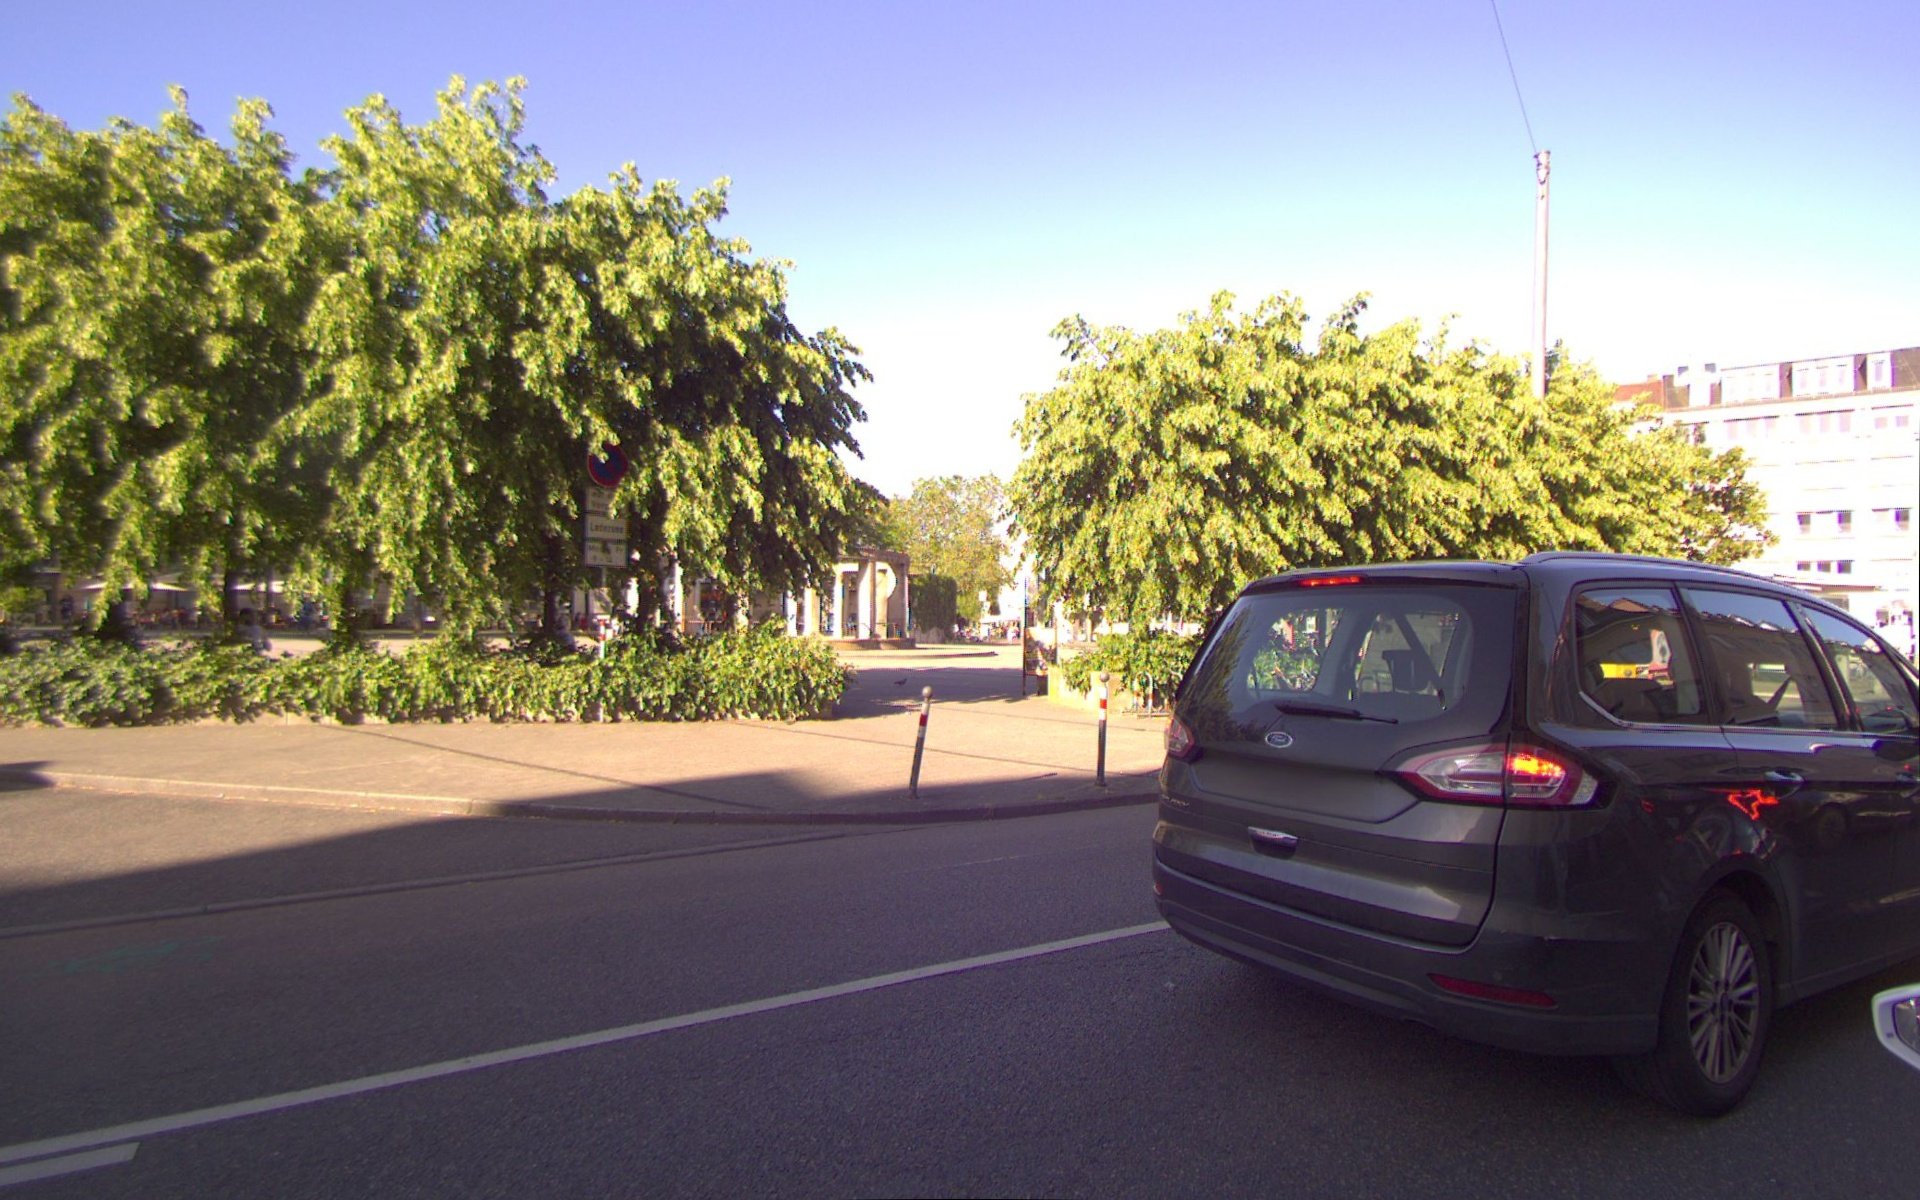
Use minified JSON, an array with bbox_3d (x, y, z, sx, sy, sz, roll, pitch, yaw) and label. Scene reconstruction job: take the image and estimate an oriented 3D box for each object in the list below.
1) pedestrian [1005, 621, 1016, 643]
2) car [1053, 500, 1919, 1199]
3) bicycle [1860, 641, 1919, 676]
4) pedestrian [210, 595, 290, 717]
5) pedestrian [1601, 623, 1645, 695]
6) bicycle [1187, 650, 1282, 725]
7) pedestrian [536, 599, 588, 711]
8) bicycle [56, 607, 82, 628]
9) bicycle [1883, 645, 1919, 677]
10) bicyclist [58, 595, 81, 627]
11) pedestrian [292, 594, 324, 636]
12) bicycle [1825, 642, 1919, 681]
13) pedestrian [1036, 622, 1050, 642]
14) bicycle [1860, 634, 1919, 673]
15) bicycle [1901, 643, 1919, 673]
[{"bbox_3d":[4.710,3.008,94.228,0.886,2.040,1.286,1,-1,8],"label":"pedestrian"},{"bbox_3d":[2.874,0.730,4.437,4.675,1.795,1.983,1,-2,-32],"label":"car"},{"bbox_3d":[33.121,2.037,35.035,0.833,1.171,2.449,1,-1,-31],"label":"bicycle"},{"bbox_3d":[-10.752,0.835,15.241,0.725,1.781,0.895,1,-1,-19],"label":"pedestrian"},{"bbox_3d":[16.013,1.414,24.274,0.608,1.684,0.685,1,-1,0],"label":"pedestrian"},{"bbox_3d":[4.217,1.323,15.549,0.425,1.031,1.590,1,0,-28],"label":"bicycle"},{"bbox_3d":[-6.527,0.888,16.520,0.725,1.781,0.895,1,-1,-19],"label":"pedestrian"},{"bbox_3d":[-40.663,0.802,45.833,1.877,0.966,0.586,-1,-2,39],"label":"bicycle"},{"bbox_3d":[36.754,2.328,38.032,0.834,1.171,2.517,1,-1,-34],"label":"bicycle"},{"bbox_3d":[-40.650,0.498,45.856,0.688,1.447,0.670,1,-1,39],"label":"bicyclist"},{"bbox_3d":[-28.058,0.662,43.211,0.723,1.781,0.898,1,-1,28],"label":"pedestrian"},{"bbox_3d":[30.905,2.057,33.871,0.833,1.171,2.493,1,-1,-31],"label":"bicycle"},{"bbox_3d":[8.255,3.179,99.971,1.252,2.040,1.285,1,-1,-4],"label":"pedestrian"},{"bbox_3d":[34.481,1.943,36.525,0.913,1.341,2.461,1,-1,-35],"label":"bicycle"},{"bbox_3d":[38.678,2.315,39.510,0.834,1.171,2.308,1,-1,-34],"label":"bicycle"}]
